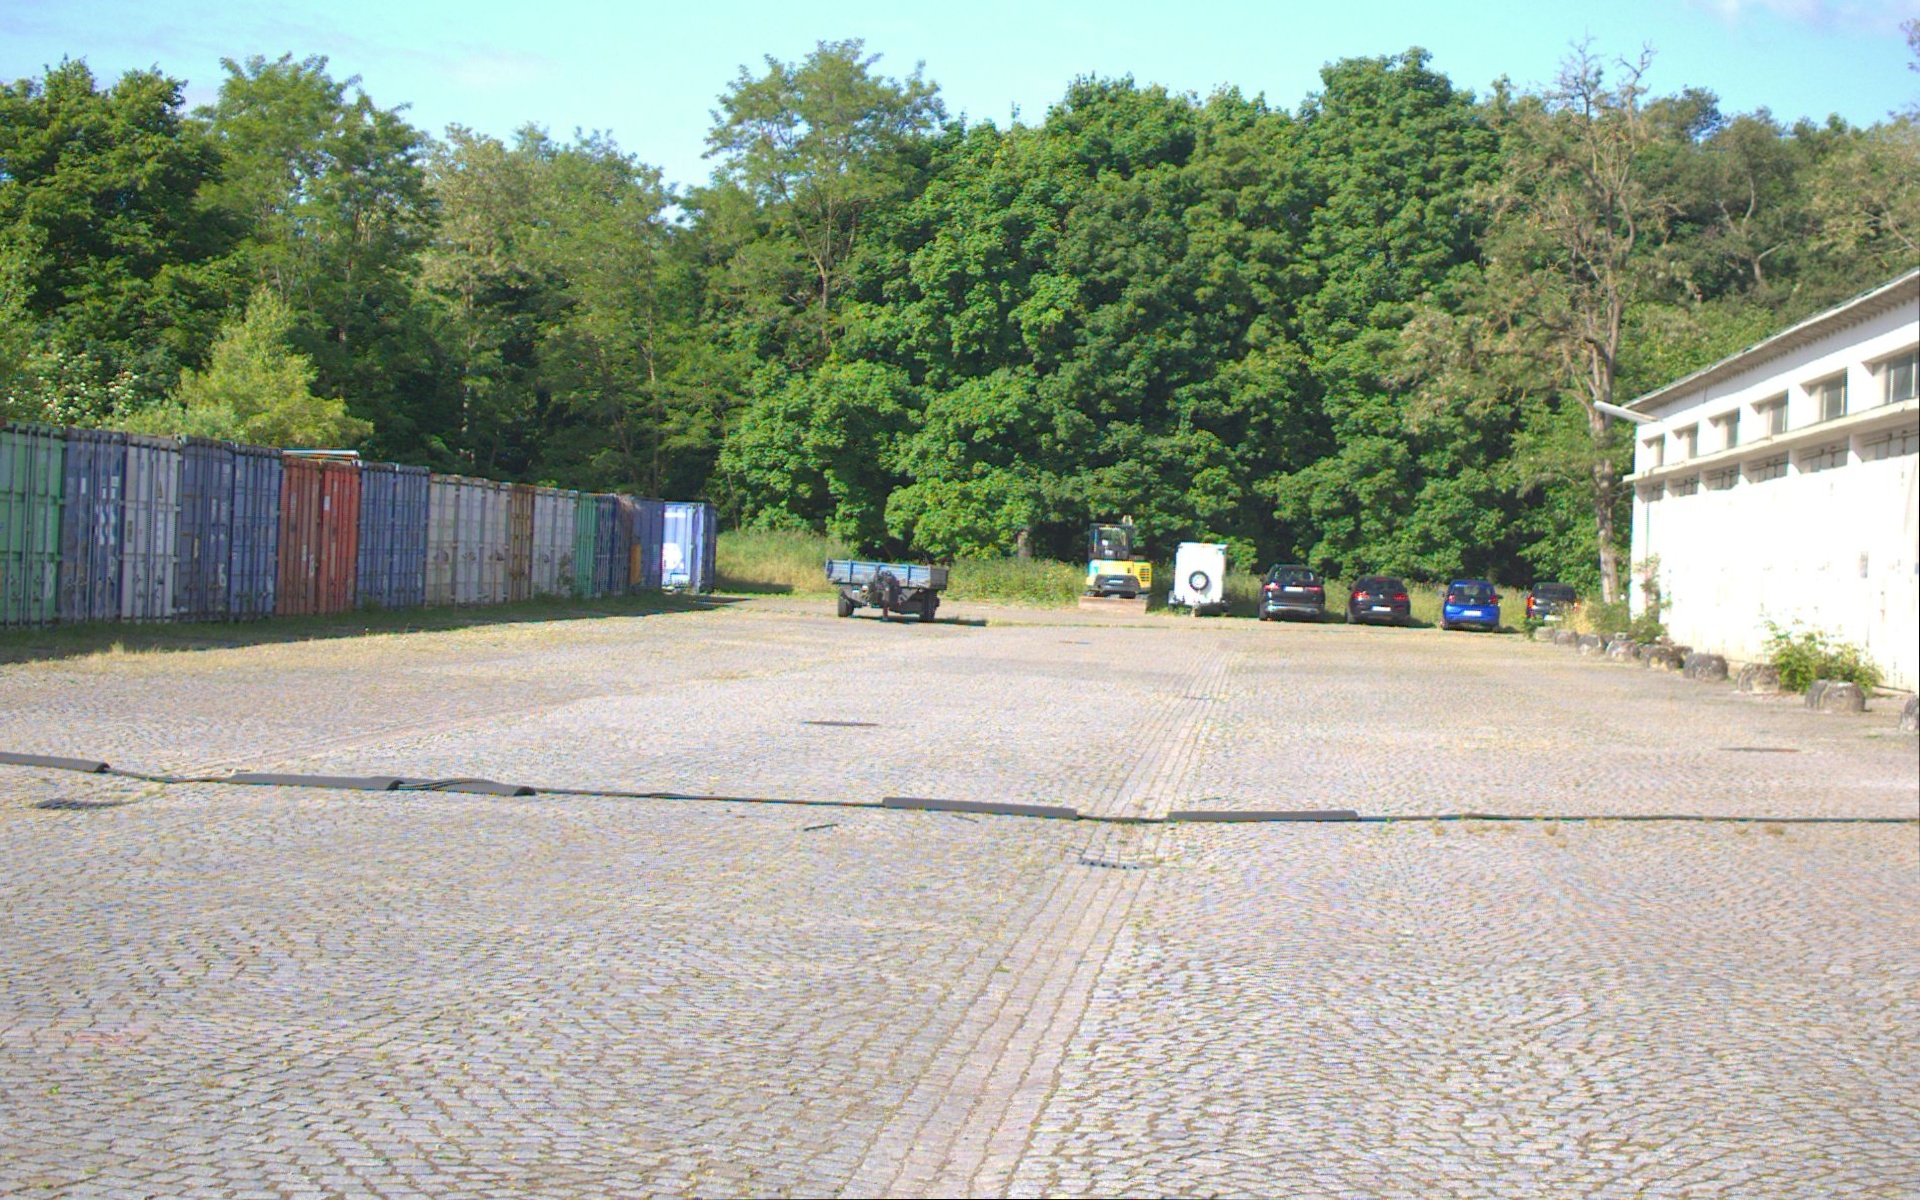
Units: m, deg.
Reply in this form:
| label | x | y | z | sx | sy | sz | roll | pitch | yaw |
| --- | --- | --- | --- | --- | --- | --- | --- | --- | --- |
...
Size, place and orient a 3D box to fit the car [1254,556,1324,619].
| label | x | y | z | sx | sy | sz | roll | pitch | yaw |
| --- | --- | --- | --- | --- | --- | --- | --- | --- | --- |
| car | 9.529 | -0.378 | 99.796 | 1.864 | 1.583 | 4.295 | 4 | 2 | 5 |

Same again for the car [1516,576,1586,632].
| label | x | y | z | sx | sy | sz | roll | pitch | yaw |
| --- | --- | --- | --- | --- | --- | --- | --- | --- | --- |
| car | 17.342 | 0.102 | 100.780 | 1.745 | 1.431 | 4.181 | 4 | 2 | 12 |

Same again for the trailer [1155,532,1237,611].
| label | x | y | z | sx | sy | sz | roll | pitch | yaw |
| --- | --- | --- | --- | --- | --- | --- | --- | --- | --- |
| trailer | 7.062 | -0.879 | 102.416 | 2.193 | 2.087 | 5.750 | 4 | 2 | 5 |

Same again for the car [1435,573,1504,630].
| label | x | y | z | sx | sy | sz | roll | pitch | yaw |
| --- | --- | --- | --- | --- | --- | --- | --- | --- | --- |
| car | 14.778 | 0.030 | 99.609 | 1.745 | 1.431 | 4.181 | 4 | 2 | 10 |

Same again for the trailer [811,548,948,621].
| label | x | y | z | sx | sy | sz | roll | pitch | yaw |
| --- | --- | --- | --- | --- | --- | --- | --- | --- | --- |
| trailer | -1.884 | -0.412 | 83.093 | 2.706 | 1.460 | 6.247 | 4 | 2 | 3 |

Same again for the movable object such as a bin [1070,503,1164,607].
| label | x | y | z | sx | sy | sz | roll | pitch | yaw |
| --- | --- | --- | --- | --- | --- | --- | --- | --- | --- |
| movable object such as a bin | 4.765 | -1.401 | 103.226 | 2.307 | 2.886 | 5.750 | 4 | 2 | 6 |

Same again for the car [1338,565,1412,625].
| label | x | y | z | sx | sy | sz | roll | pitch | yaw |
| --- | --- | --- | --- | --- | --- | --- | --- | --- | --- |
| car | 12.033 | -0.160 | 99.929 | 1.864 | 1.465 | 4.295 | 4 | 2 | 5 |
